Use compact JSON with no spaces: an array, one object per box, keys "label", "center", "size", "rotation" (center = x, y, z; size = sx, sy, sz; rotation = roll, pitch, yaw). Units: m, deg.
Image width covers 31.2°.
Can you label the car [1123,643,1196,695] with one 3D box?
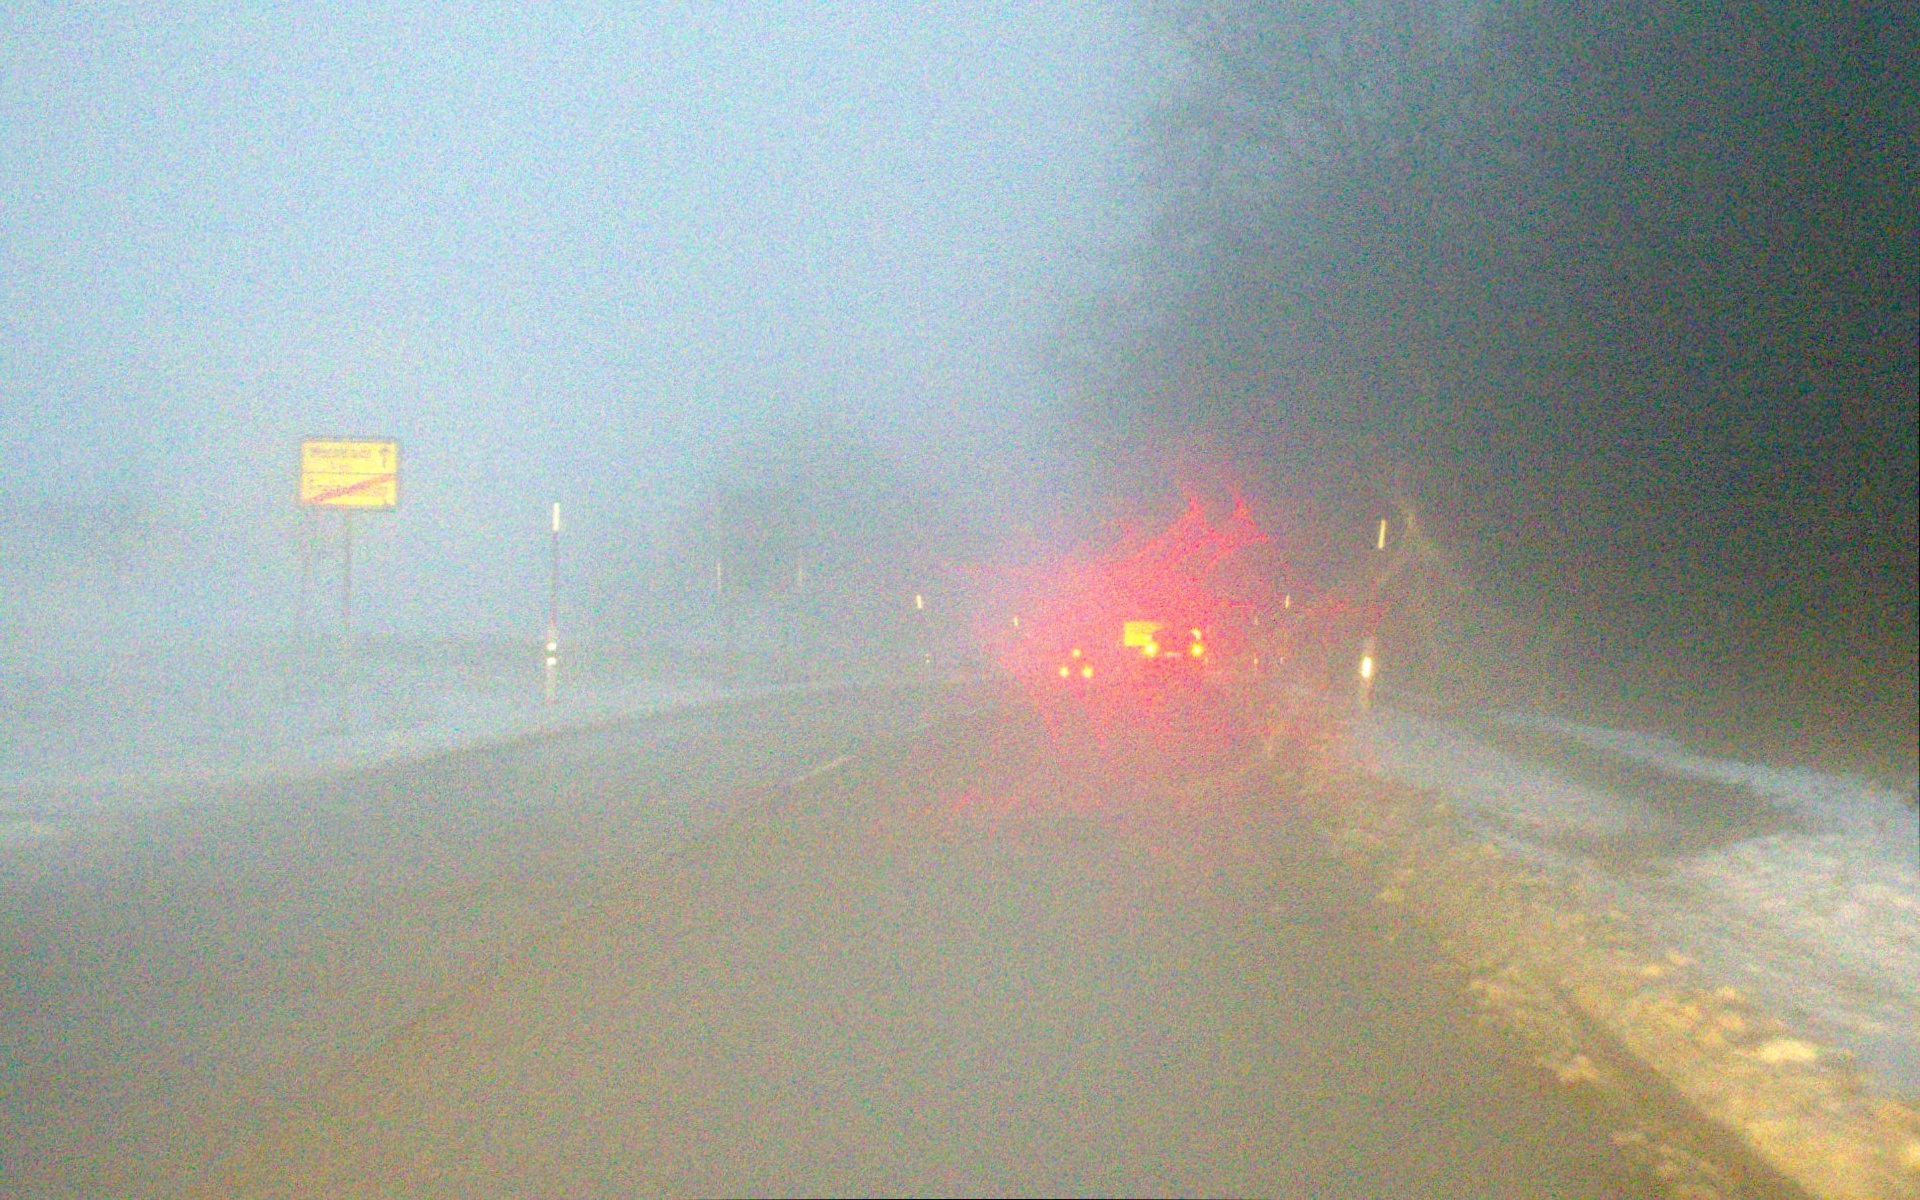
[{"label":"car","center":[5.620,1.930,97.276],"size":[1.994,1.415,4.000],"rotation":[0,0,2]}]
